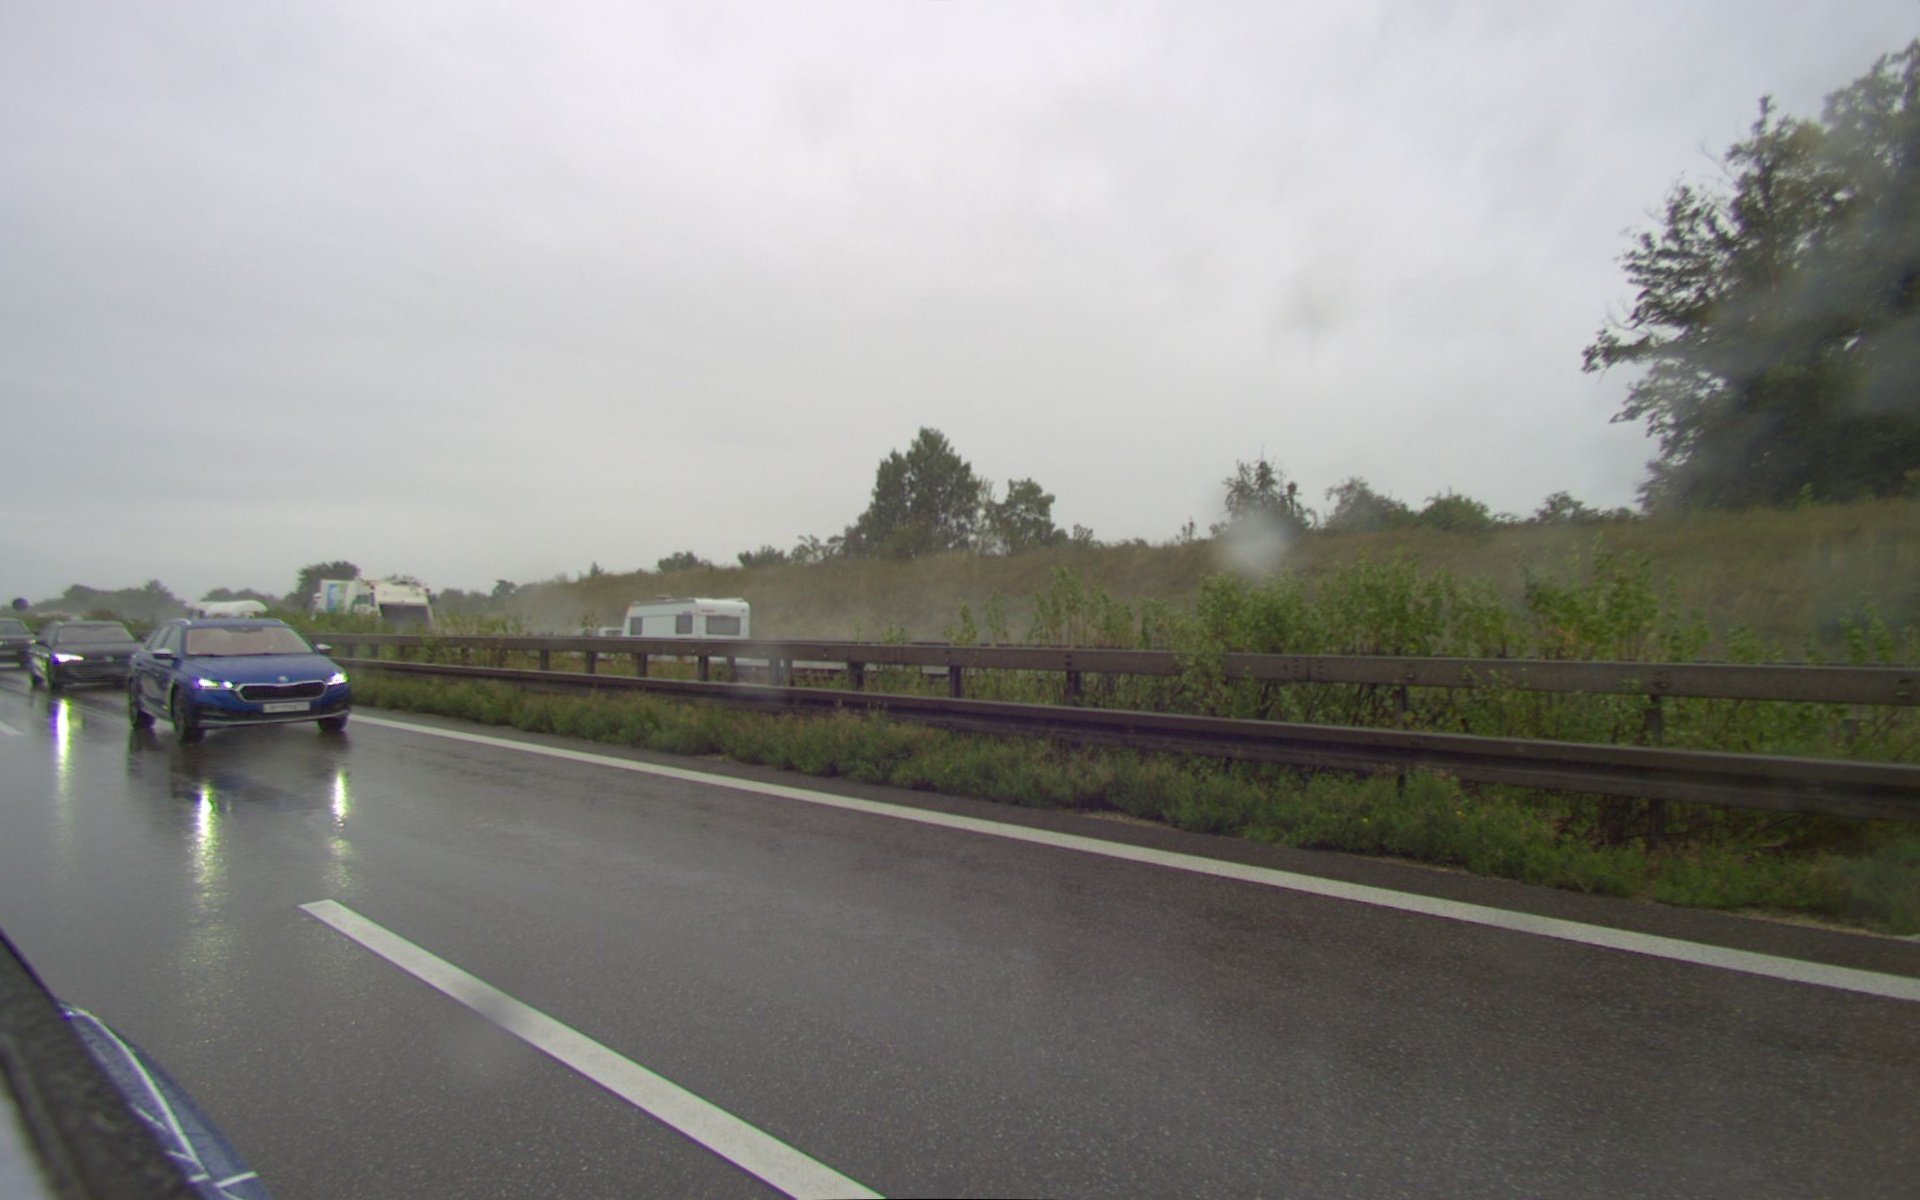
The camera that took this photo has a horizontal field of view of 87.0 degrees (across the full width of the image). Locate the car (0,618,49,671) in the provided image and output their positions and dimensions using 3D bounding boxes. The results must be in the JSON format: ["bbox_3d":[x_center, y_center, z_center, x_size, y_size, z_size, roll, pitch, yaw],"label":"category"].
[{"bbox_3d":[-31.461,1.444,33.168,4.266,1.644,1.864,-2,-1,41],"label":"car"}]

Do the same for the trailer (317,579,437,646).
[{"bbox_3d":[-26.079,0.532,45.119,7.323,2.740,2.455,0,-2,42],"label":"trailer"}]

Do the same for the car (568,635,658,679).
[{"bbox_3d":[-13.170,2.146,38.372,3.659,1.549,1.657,-2,-2,42],"label":"car"}]

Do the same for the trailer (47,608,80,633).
[{"bbox_3d":[-111.939,2.584,126.333,8.867,3.105,1.973,-2,-1,41],"label":"trailer"}]

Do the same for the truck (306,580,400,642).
[{"bbox_3d":[-28.287,0.518,47.130,4.527,2.740,2.455,0,-2,42],"label":"truck"}]

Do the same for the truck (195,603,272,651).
[{"bbox_3d":[-54.368,1.969,75.631,9.345,3.323,2.528,0,-2,41],"label":"truck"}]

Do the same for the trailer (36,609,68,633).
[{"bbox_3d":[-118.857,2.750,132.394,9.550,3.105,1.973,-2,-1,41],"label":"trailer"}]

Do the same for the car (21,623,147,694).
[{"bbox_3d":[-20.007,1.281,23.053,4.368,1.447,1.592,-2,-1,41],"label":"car"}]

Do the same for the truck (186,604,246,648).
[{"bbox_3d":[-57.797,2.035,78.607,5.195,3.305,2.515,0,-3,40],"label":"truck"}]

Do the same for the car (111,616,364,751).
[{"bbox_3d":[-9.699,0.992,13.438,4.510,1.487,1.767,-2,-1,41],"label":"car"}]

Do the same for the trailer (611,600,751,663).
[{"bbox_3d":[-9.793,1.050,35.270,5.347,2.029,2.070,0,-2,41],"label":"trailer"}]
